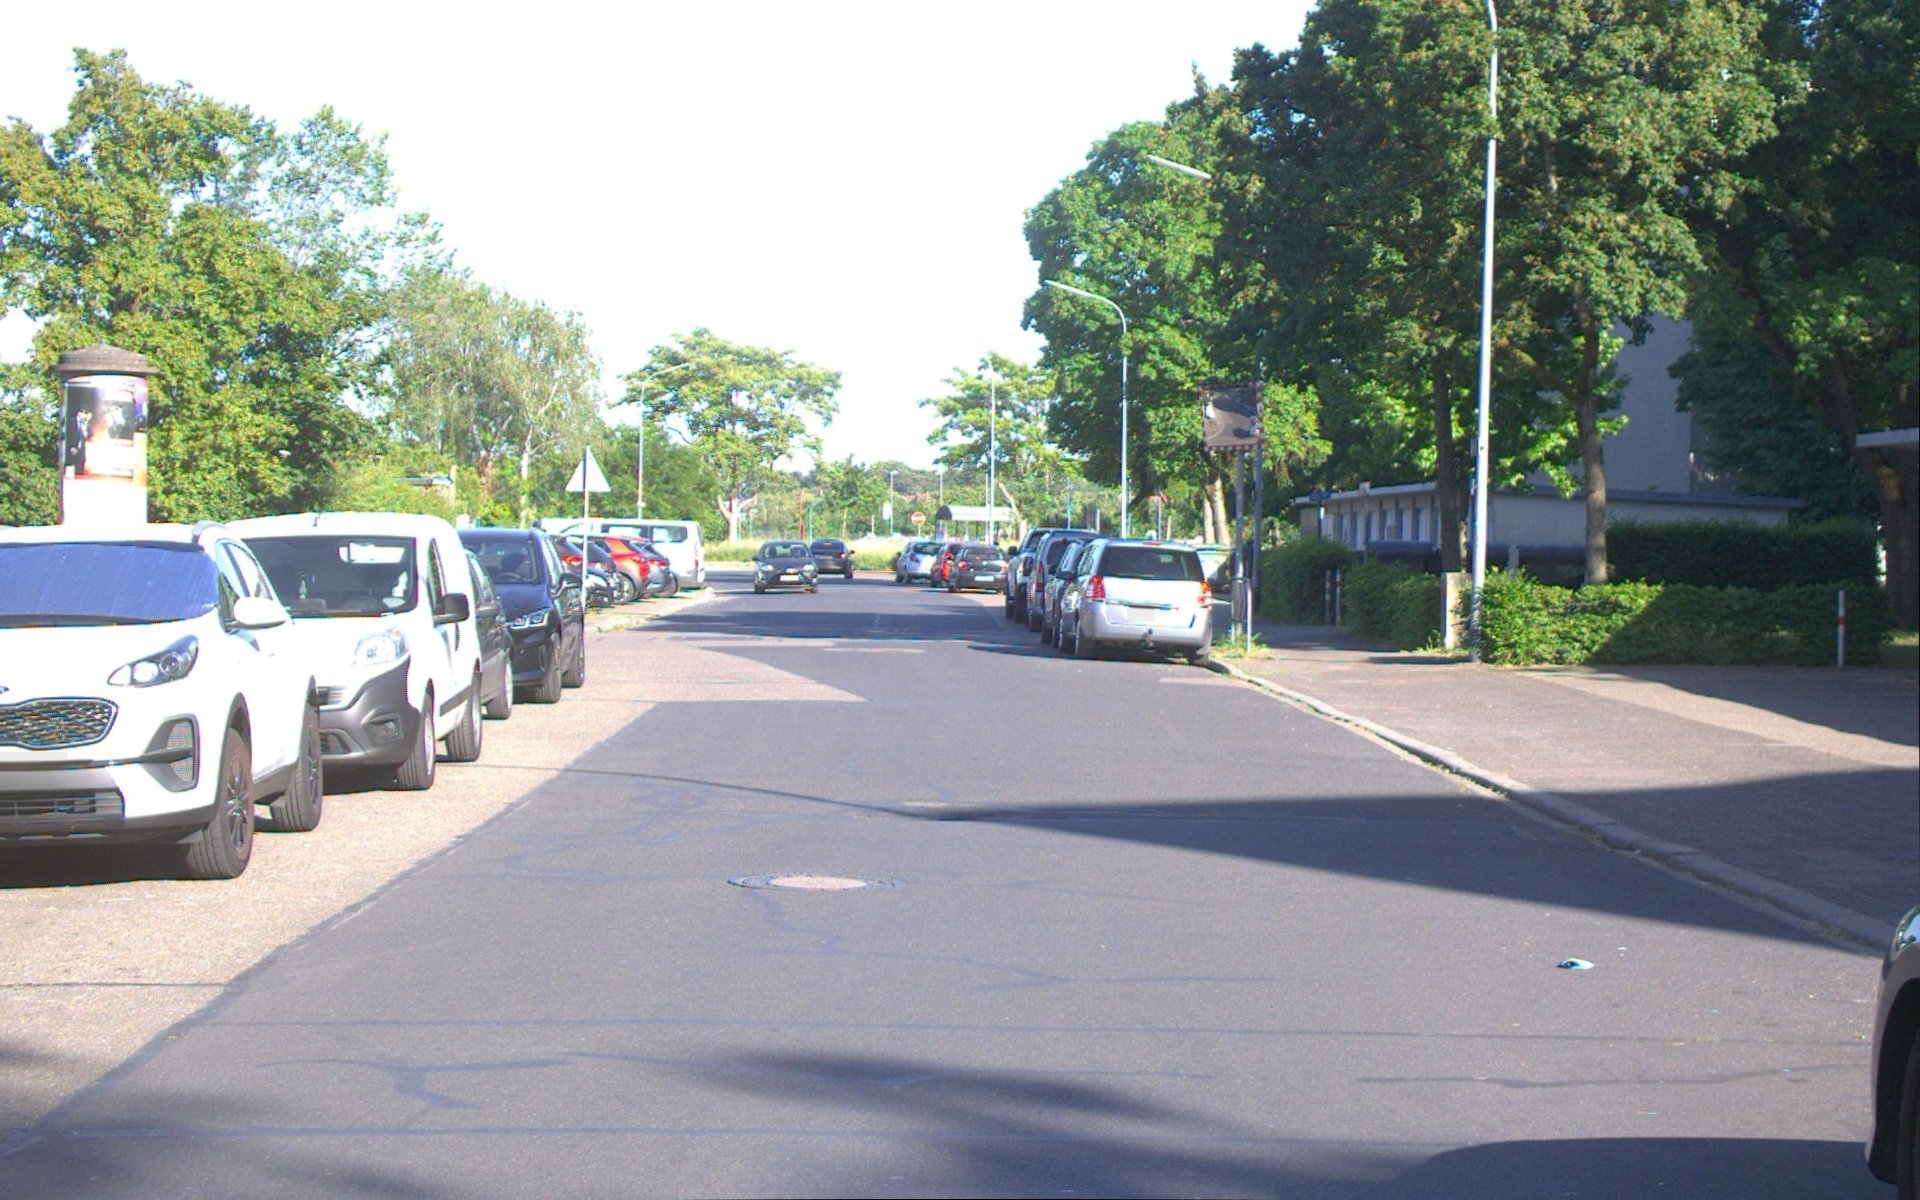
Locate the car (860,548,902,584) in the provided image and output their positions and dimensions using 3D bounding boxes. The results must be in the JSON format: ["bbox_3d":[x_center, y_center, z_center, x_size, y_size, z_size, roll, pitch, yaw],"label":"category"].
[{"bbox_3d":[-3.793,-1.640,164.500,1.795,1.638,3.952,2,1,-3],"label":"car"}]

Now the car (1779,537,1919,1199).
[{"bbox_3d":[2.860,0.691,5.605,1.908,1.525,4.328,2,1,-1],"label":"car"}]

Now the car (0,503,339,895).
[{"bbox_3d":[-4.164,0.381,16.765,1.746,1.664,4.379,0,1,-4],"label":"car"}]

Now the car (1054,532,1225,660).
[{"bbox_3d":[2.339,-0.087,45.661,1.795,1.556,3.952,2,1,-3],"label":"car"}]

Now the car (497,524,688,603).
[{"bbox_3d":[-8.015,-0.801,75.129,4.053,1.556,1.802,2,1,-5],"label":"car"}]

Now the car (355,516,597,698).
[{"bbox_3d":[-4.490,0.024,32.451,1.746,1.607,4.308,0,1,-1],"label":"car"}]

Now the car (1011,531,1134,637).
[{"bbox_3d":[1.984,-0.316,61.621,1.795,1.780,3.952,2,1,-3],"label":"car"}]

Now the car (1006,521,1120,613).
[{"bbox_3d":[1.956,-0.651,66.149,1.795,1.638,3.952,2,1,-3],"label":"car"}]

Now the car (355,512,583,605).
[{"bbox_3d":[-9.067,-0.766,63.685,4.053,1.556,1.802,2,1,-5],"label":"car"}]

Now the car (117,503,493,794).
[{"bbox_3d":[-4.161,0.253,22.427,1.746,1.726,4.006,0,1,-1],"label":"car"}]

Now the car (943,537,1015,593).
[{"bbox_3d":[0.539,-1.046,100.895,1.795,1.543,3.952,2,1,-3],"label":"car"}]

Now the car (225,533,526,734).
[{"bbox_3d":[-4.565,0.209,27.381,1.746,1.473,4.153,0,1,-1],"label":"car"}]

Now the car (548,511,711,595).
[{"bbox_3d":[-8.430,-1.198,87.724,4.053,1.985,1.802,2,1,-5],"label":"car"}]

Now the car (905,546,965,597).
[{"bbox_3d":[-0.881,-0.990,118.310,1.795,1.638,3.952,2,1,-3],"label":"car"}]

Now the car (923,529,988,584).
[{"bbox_3d":[-0.159,-1.379,108.663,1.795,1.638,3.952,2,1,-3],"label":"car"}]

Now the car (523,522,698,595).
[{"bbox_3d":[-8.335,-0.997,82.143,4.053,1.556,1.802,2,1,-5],"label":"car"}]

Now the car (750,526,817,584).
[{"bbox_3d":[-5.021,-1.293,97.678,1.795,1.556,3.952,2,1,-3],"label":"car"}]

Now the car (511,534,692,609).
[{"bbox_3d":[-8.252,-0.661,79.195,4.053,1.556,1.802,2,1,-5],"label":"car"}]

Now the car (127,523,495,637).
[{"bbox_3d":[-8.300,-0.272,44.224,4.386,1.431,1.844,0,1,0],"label":"car"}]

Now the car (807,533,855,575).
[{"bbox_3d":[-4.985,-1.789,132.253,1.679,1.508,4.105,3,1,-3],"label":"car"}]

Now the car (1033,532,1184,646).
[{"bbox_3d":[2.164,-0.189,51.040,1.795,1.556,3.952,2,1,-3],"label":"car"}]
